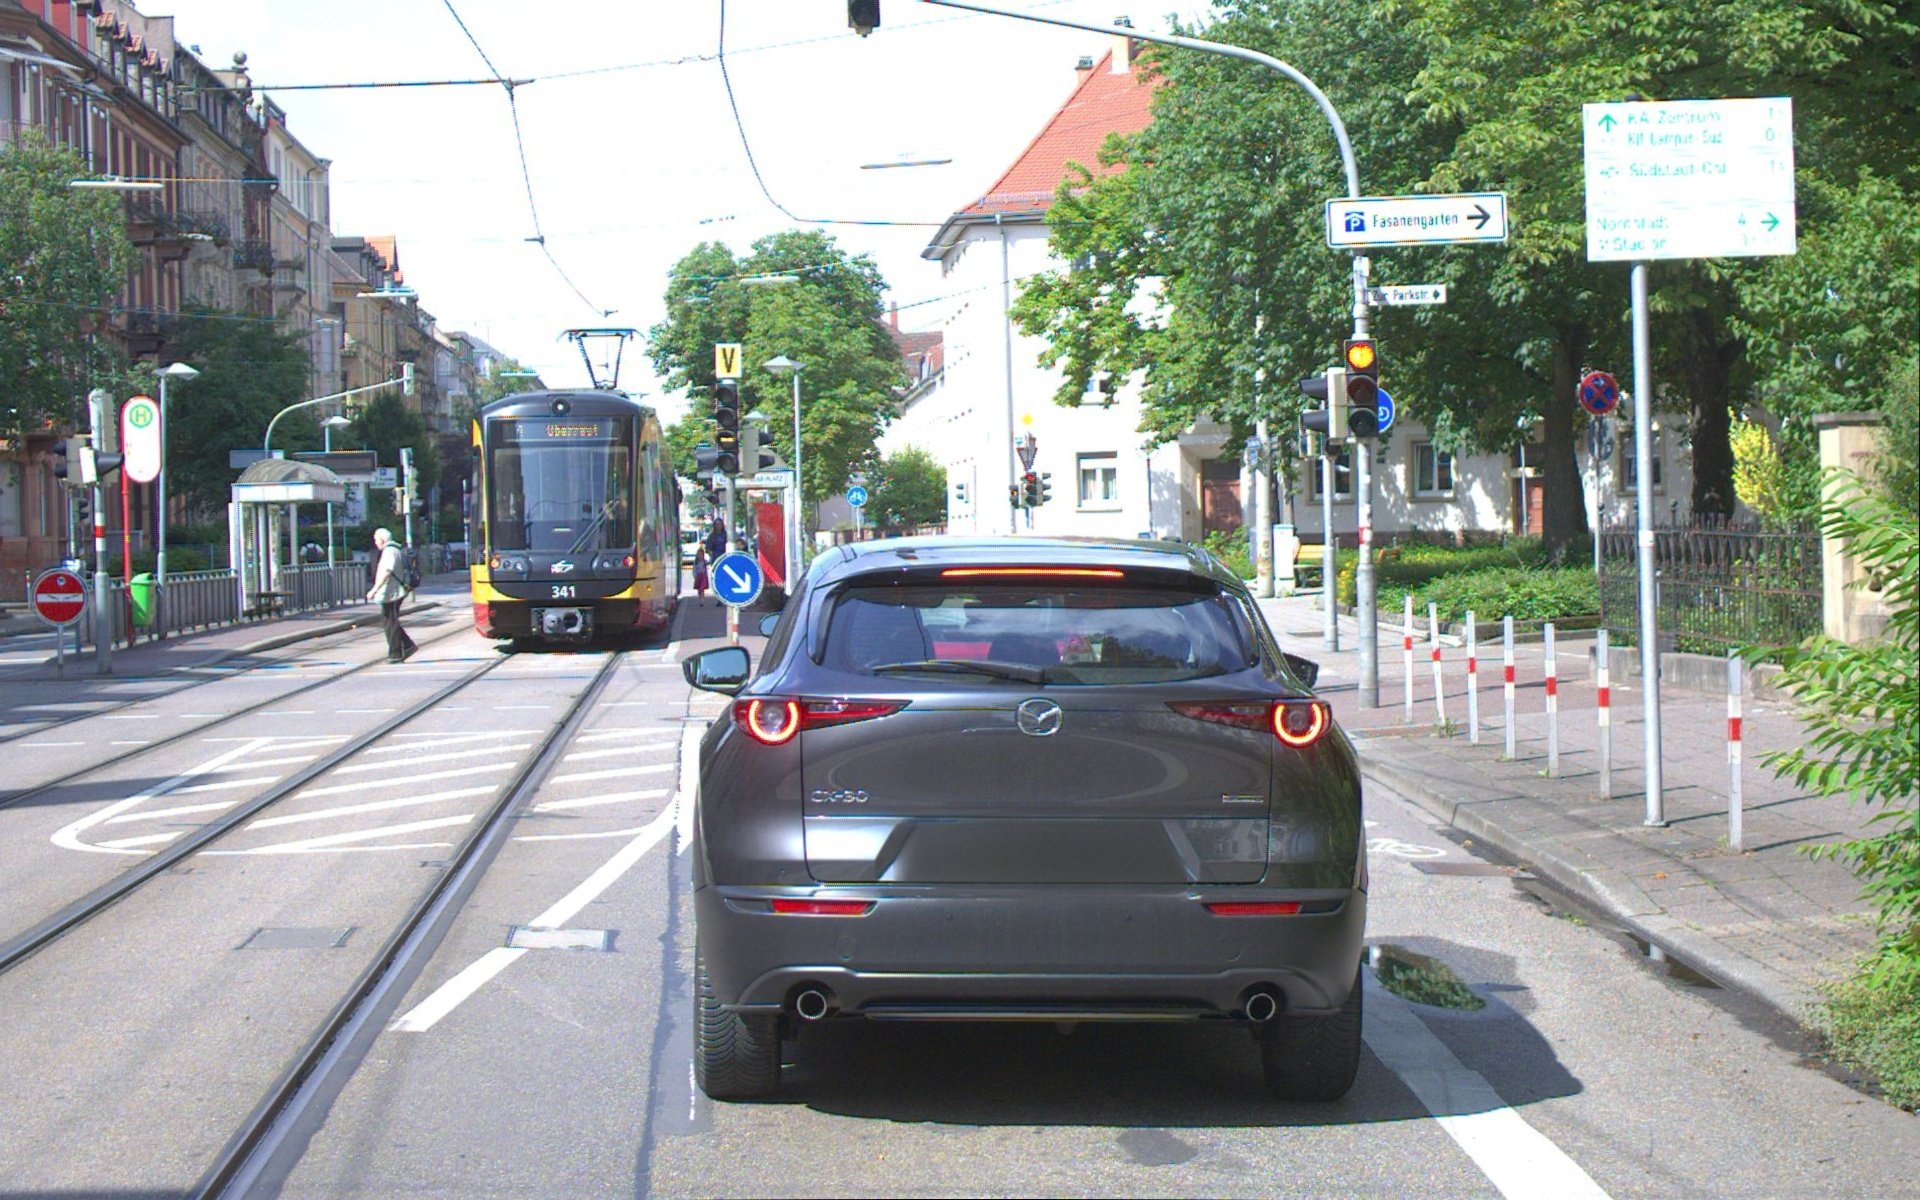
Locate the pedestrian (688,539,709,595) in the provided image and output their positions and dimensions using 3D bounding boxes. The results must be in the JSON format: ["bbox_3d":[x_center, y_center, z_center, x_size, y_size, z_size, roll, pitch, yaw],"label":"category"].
[{"bbox_3d":[-5.038,-0.645,66.188,0.379,1.067,0.474,-1,1,-3],"label":"pedestrian"}]

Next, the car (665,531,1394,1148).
[{"bbox_3d":[0.139,0.553,10.489,1.778,1.494,4.000,1,1,-1],"label":"car"}]

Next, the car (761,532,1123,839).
[{"bbox_3d":[-0.122,0.387,19.094,1.778,1.494,4.000,1,1,-1],"label":"car"}]

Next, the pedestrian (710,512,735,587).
[{"bbox_3d":[-4.584,-0.971,66.309,0.450,1.429,0.474,-1,1,-5],"label":"pedestrian"}]

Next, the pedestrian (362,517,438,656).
[{"bbox_3d":[-6.961,-0.178,42.768,0.717,1.699,0.824,-1,1,4],"label":"pedestrian"}]

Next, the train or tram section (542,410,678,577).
[{"bbox_3d":[-8.011,-2.520,80.064,2.752,3.478,14.411,-1,2,-4],"label":"train or tram section"}]

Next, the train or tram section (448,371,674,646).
[{"bbox_3d":[-5.719,-1.440,51.345,2.752,3.478,14.411,-1,2,-4],"label":"train or tram section"}]

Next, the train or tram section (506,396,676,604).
[{"bbox_3d":[-6.875,-1.969,65.694,2.752,3.478,14.411,-1,2,-4],"label":"train or tram section"}]
